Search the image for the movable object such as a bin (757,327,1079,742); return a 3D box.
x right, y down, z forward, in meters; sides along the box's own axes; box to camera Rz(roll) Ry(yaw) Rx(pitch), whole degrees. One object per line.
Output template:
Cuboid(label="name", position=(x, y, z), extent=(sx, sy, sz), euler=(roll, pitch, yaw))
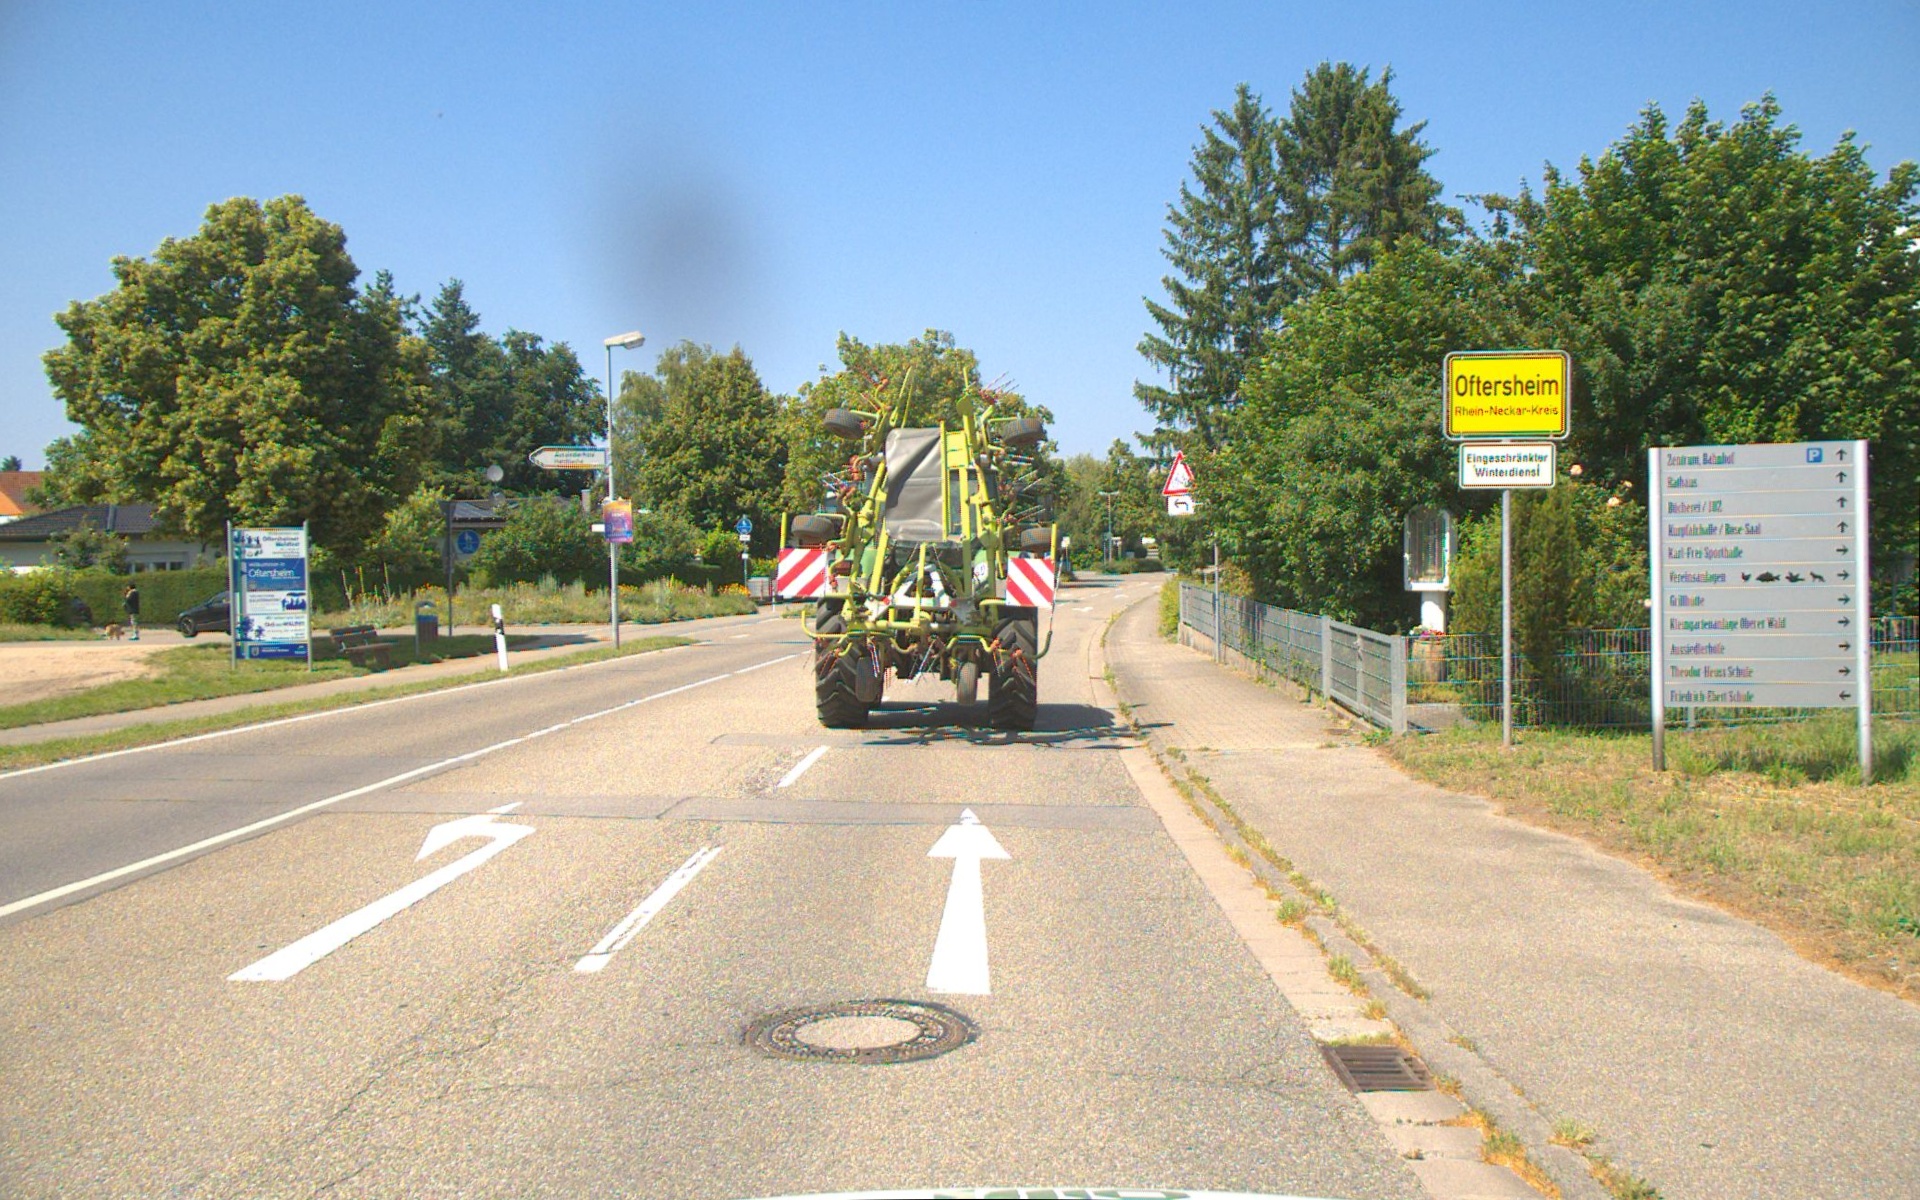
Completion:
Cuboid(label="movable object such as a bin", position=(-0.195, -0.663, 19.301), extent=(2.793, 3.603, 9.704), euler=(0, 1, 2))

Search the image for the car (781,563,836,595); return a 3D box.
Cuboid(label="car", position=(-7.511, -1.082, 82.521), extent=(1.652, 1.556, 4.004), euler=(0, 1, 11))

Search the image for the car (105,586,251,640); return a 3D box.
Cuboid(label="car", position=(-24.378, 0.404, 51.571), extent=(4.006, 1.545, 1.999), euler=(-1, 1, 25))

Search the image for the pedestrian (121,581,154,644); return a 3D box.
Cuboid(label="pedestrian", position=(-23.174, 0.335, 46.598), extent=(0.541, 1.746, 0.671), euler=(0, 1, 44))

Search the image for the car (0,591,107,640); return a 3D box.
Cuboid(label="car", position=(-33.170, 0.573, 59.504), extent=(3.903, 1.545, 1.883), euler=(-2, 3, 3))
